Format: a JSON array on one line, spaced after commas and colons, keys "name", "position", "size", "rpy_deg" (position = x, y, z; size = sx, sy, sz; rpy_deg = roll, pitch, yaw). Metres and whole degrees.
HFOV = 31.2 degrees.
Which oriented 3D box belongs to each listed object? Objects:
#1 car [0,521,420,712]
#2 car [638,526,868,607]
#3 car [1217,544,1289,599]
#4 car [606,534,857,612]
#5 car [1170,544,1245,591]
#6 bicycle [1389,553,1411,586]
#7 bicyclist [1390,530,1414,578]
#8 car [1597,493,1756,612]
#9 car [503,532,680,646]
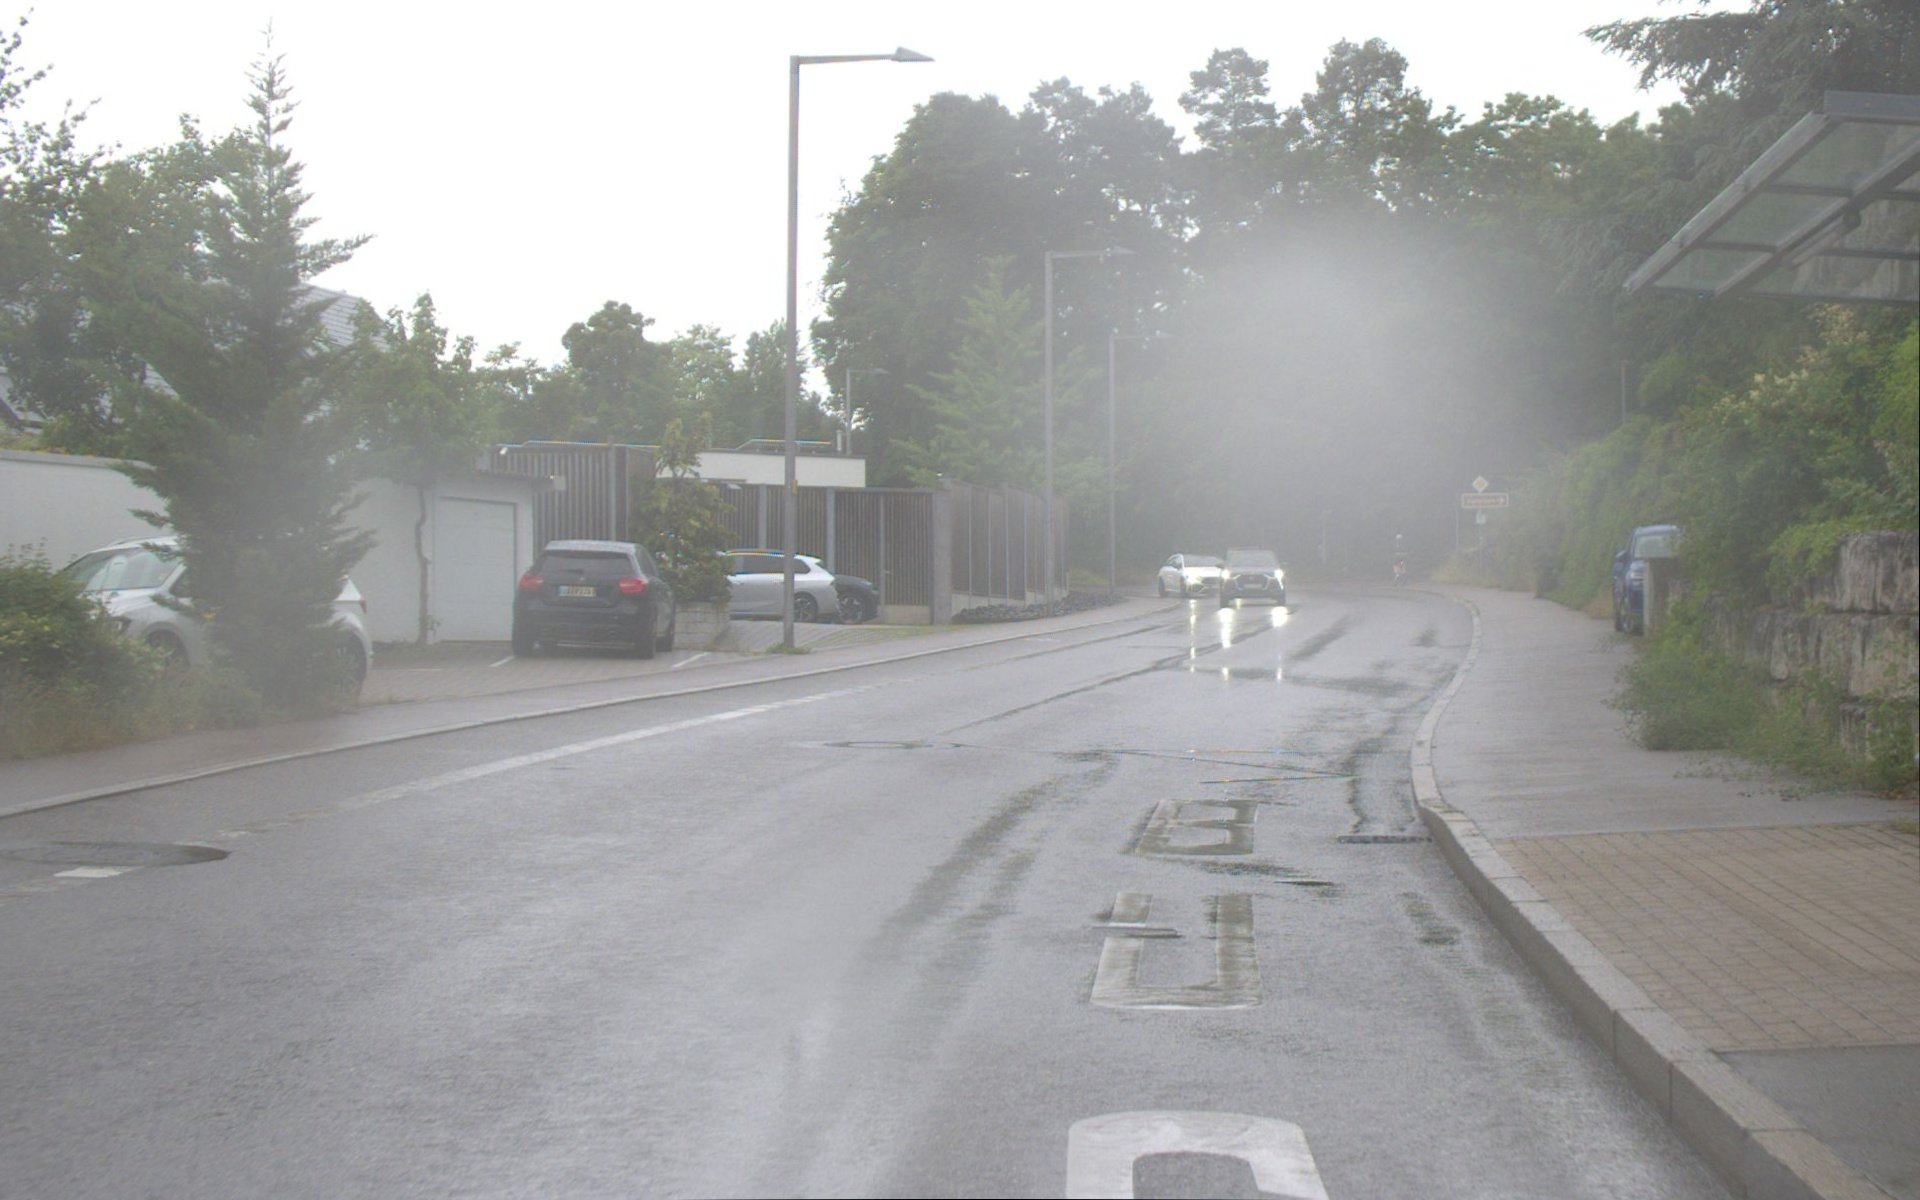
[{"name": "car", "position": [-6.675, 0.091, 30.326], "size": [1.707, 1.548, 4.383], "rpy_deg": [1, 1, 23]}, {"name": "car", "position": [-4.207, -0.688, 69.846], "size": [4.279, 1.595, 1.838], "rpy_deg": [0, 1, -25]}, {"name": "car", "position": [8.020, -0.792, 93.910], "size": [1.851, 1.464, 3.699], "rpy_deg": [0, 1, 7]}, {"name": "car", "position": [-4.415, -0.512, 66.672], "size": [4.518, 1.437, 1.761], "rpy_deg": [1, 1, -30]}, {"name": "car", "position": [7.975, -1.060, 111.214], "size": [1.846, 1.455, 4.269], "rpy_deg": [0, 1, -4]}, {"name": "bicycle", "position": [14.840, -1.041, 116.001], "size": [0.527, 1.081, 1.621], "rpy_deg": [0, 1, 0]}, {"name": "bicyclist", "position": [14.884, -1.563, 115.845], "size": [0.720, 1.609, 0.905], "rpy_deg": [0, 1, 3]}, {"name": "car", "position": [11.091, -0.753, 53.462], "size": [1.994, 1.664, 4.543], "rpy_deg": [-3, 1, 7]}, {"name": "car", "position": [-4.720, -0.177, 44.542], "size": [1.833, 1.401, 4.260], "rpy_deg": [0, 1, 0]}]
